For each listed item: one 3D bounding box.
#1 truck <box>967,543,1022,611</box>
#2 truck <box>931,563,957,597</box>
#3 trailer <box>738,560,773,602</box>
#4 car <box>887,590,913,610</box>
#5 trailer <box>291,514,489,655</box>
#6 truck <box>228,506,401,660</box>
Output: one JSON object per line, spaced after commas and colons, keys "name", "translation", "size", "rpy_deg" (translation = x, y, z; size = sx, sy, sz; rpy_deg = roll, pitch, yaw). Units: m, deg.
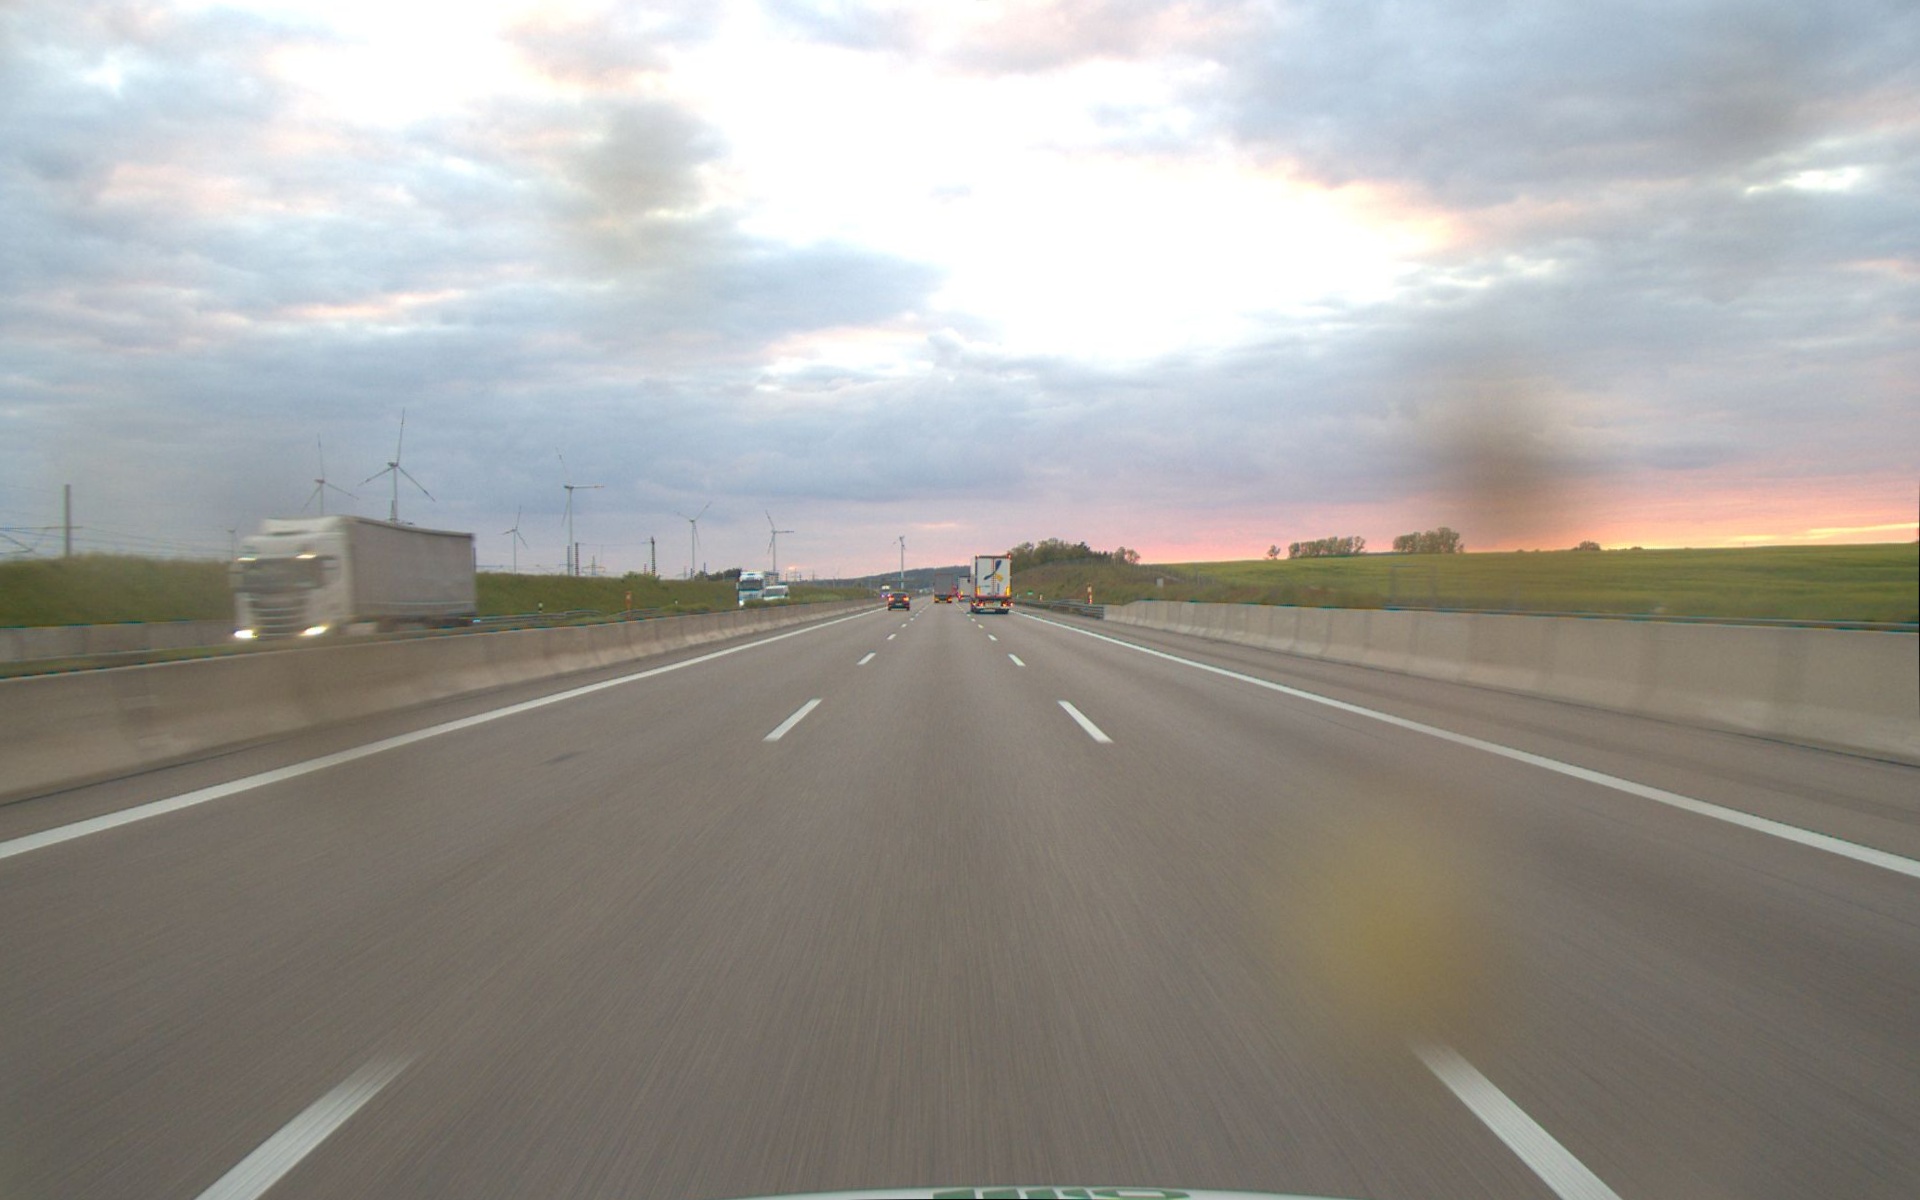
{"name": "truck", "translation": [2.427, -1.643, 120.395], "size": [3.600, 4.644, 10.980], "rpy_deg": [-1, 1, 0]}
{"name": "truck", "translation": [-2.260, -2.788, 231.207], "size": [3.573, 4.491, 8.634], "rpy_deg": [-1, 0, -1]}
{"name": "trailer", "translation": [-21.069, -1.933, 170.626], "size": [2.632, 4.186, 6.938], "rpy_deg": [-3, 0, 0]}
{"name": "car", "translation": [-4.809, -0.003, 132.936], "size": [1.947, 1.454, 4.000], "rpy_deg": [-1, 1, 0]}
{"name": "trailer", "translation": [-19.926, -0.564, 58.931], "size": [2.760, 4.428, 12.836], "rpy_deg": [1, 1, -1]}
{"name": "truck", "translation": [-19.820, -0.517, 51.205], "size": [2.760, 4.428, 6.737], "rpy_deg": [1, 1, -1]}
